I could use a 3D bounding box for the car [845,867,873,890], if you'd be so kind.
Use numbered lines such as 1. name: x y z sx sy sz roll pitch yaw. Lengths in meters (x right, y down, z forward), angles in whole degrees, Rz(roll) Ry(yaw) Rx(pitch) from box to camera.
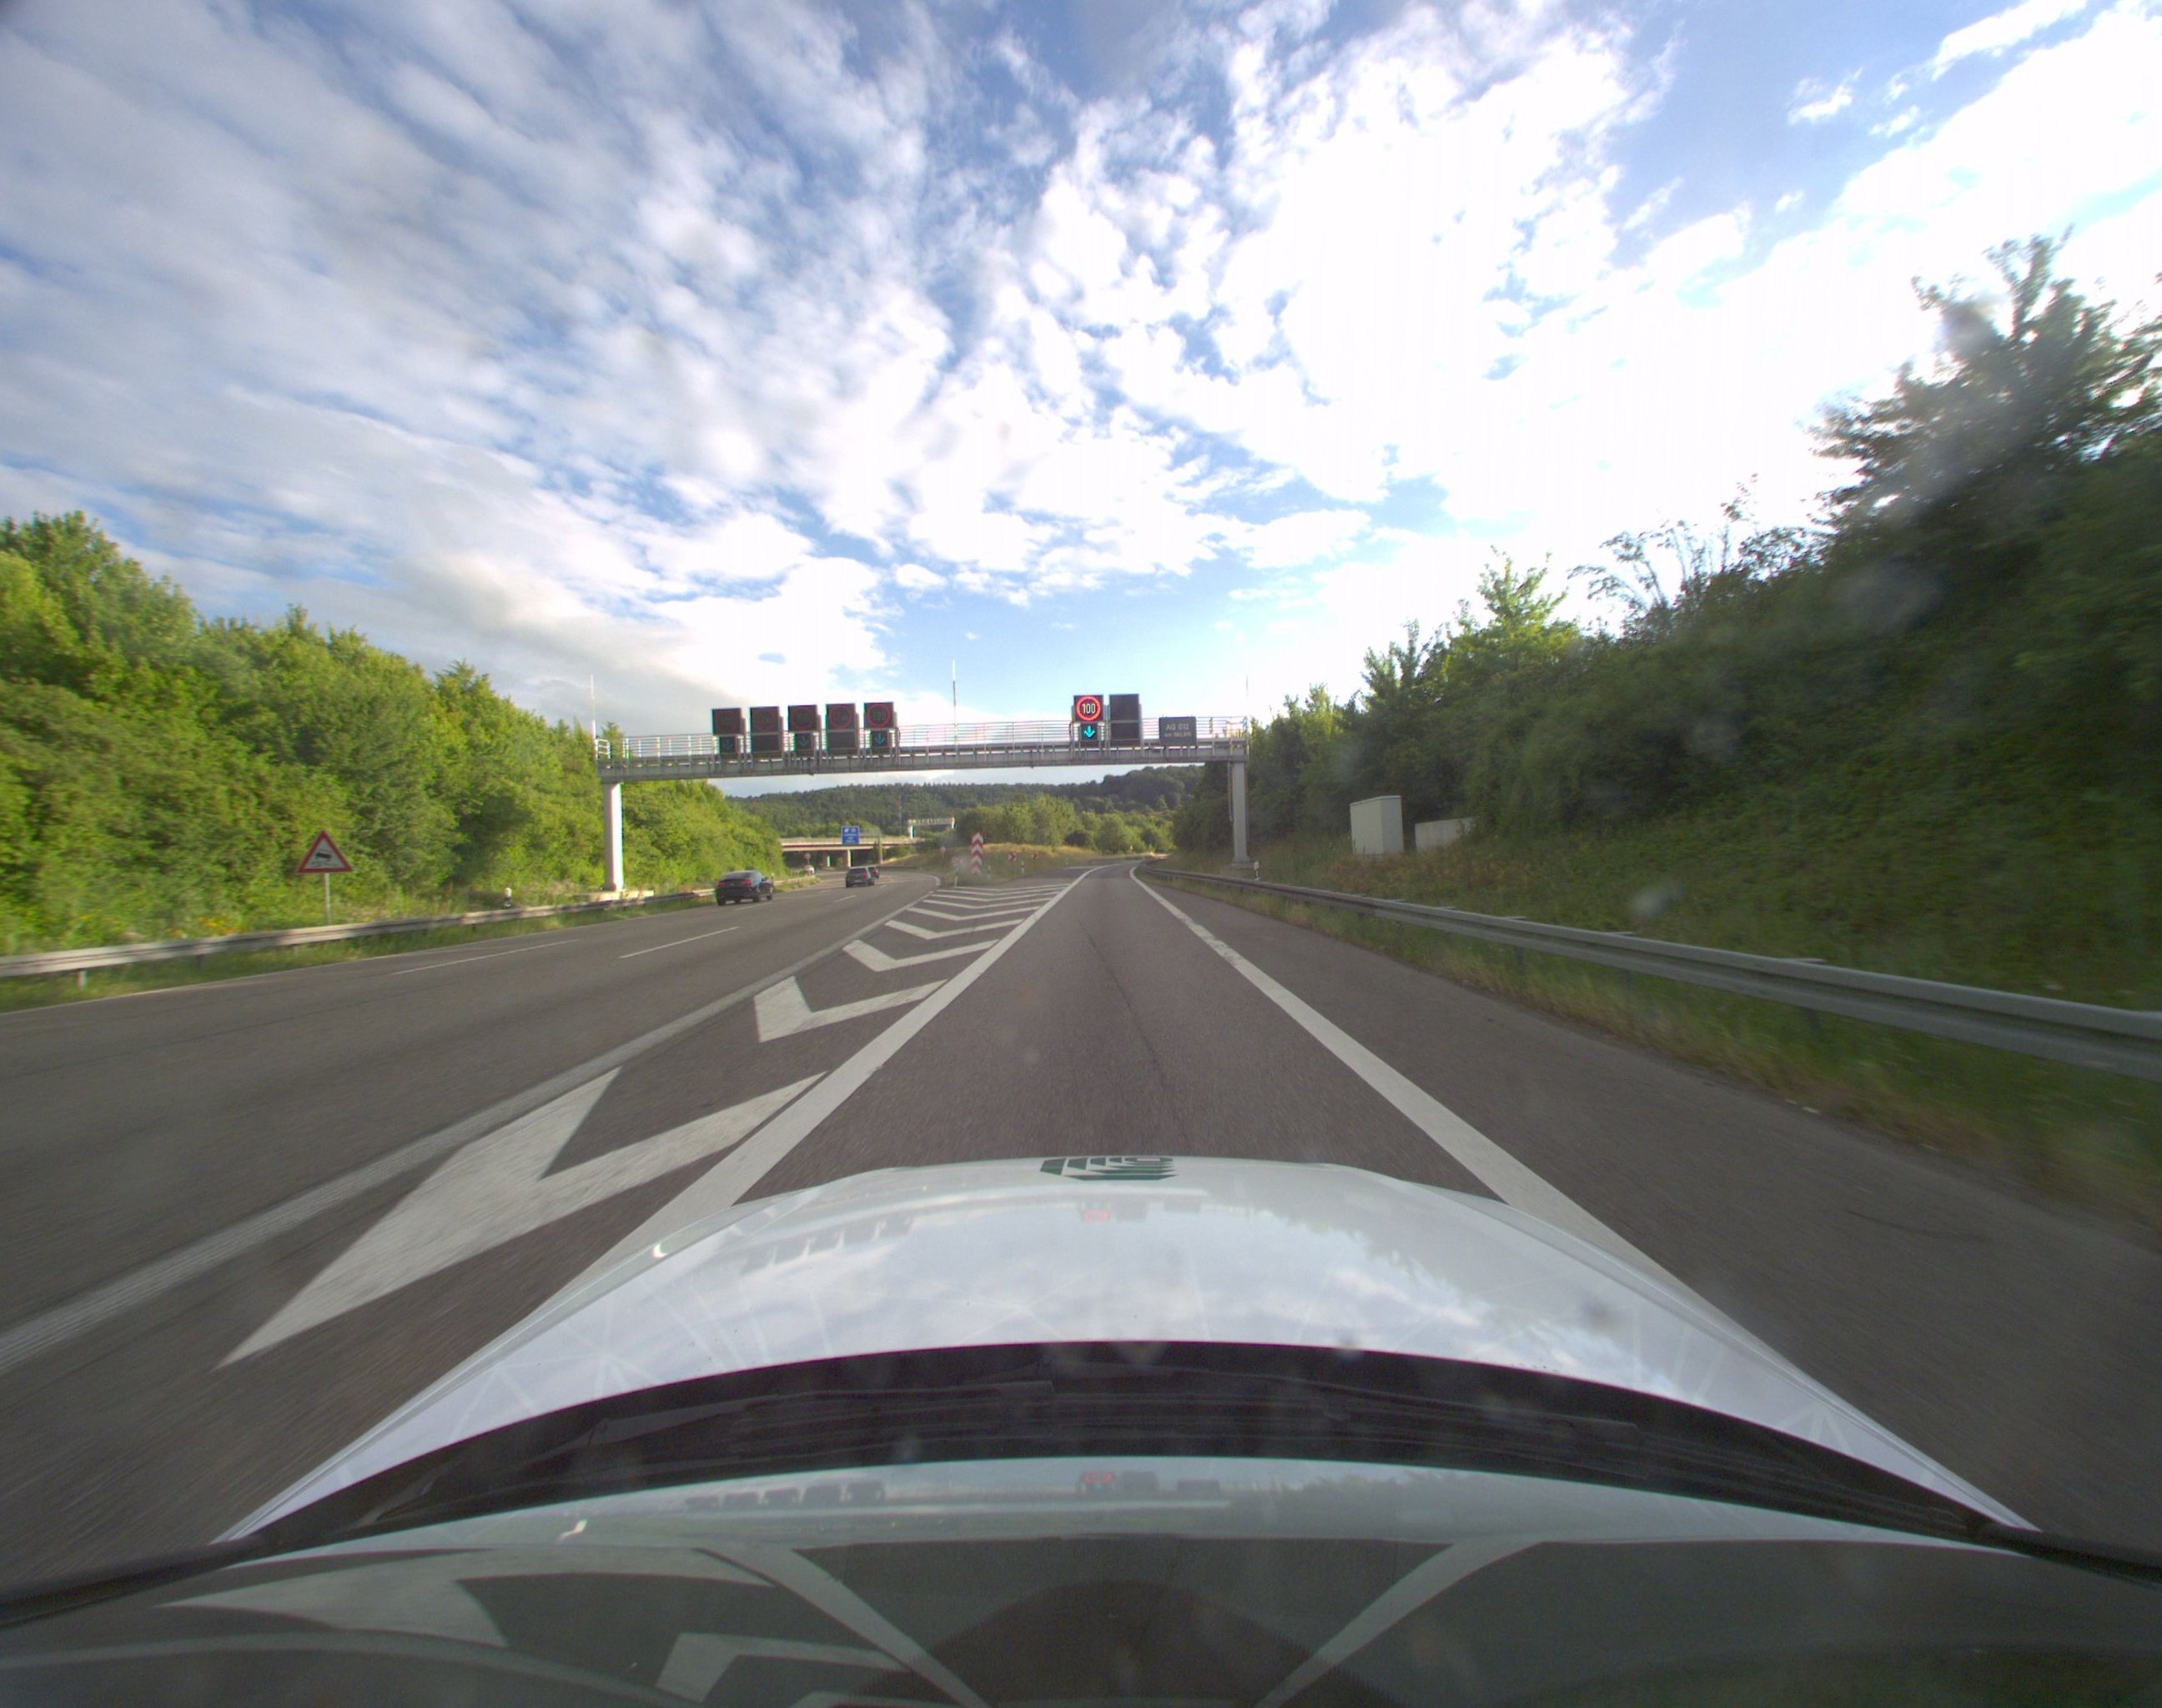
1. car: -15.647 1.688 57.539 1.739 1.466 3.769 -3 0 -13

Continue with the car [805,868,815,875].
1. car: -57.799 3.712 173.449 1.744 1.466 3.612 -3 0 -22

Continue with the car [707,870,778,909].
1. car: -16.520 1.695 39.946 1.828 1.635 3.996 -5 0 -3

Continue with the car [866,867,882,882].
1. car: -23.257 2.313 91.324 1.607 1.466 3.509 -4 0 -15
